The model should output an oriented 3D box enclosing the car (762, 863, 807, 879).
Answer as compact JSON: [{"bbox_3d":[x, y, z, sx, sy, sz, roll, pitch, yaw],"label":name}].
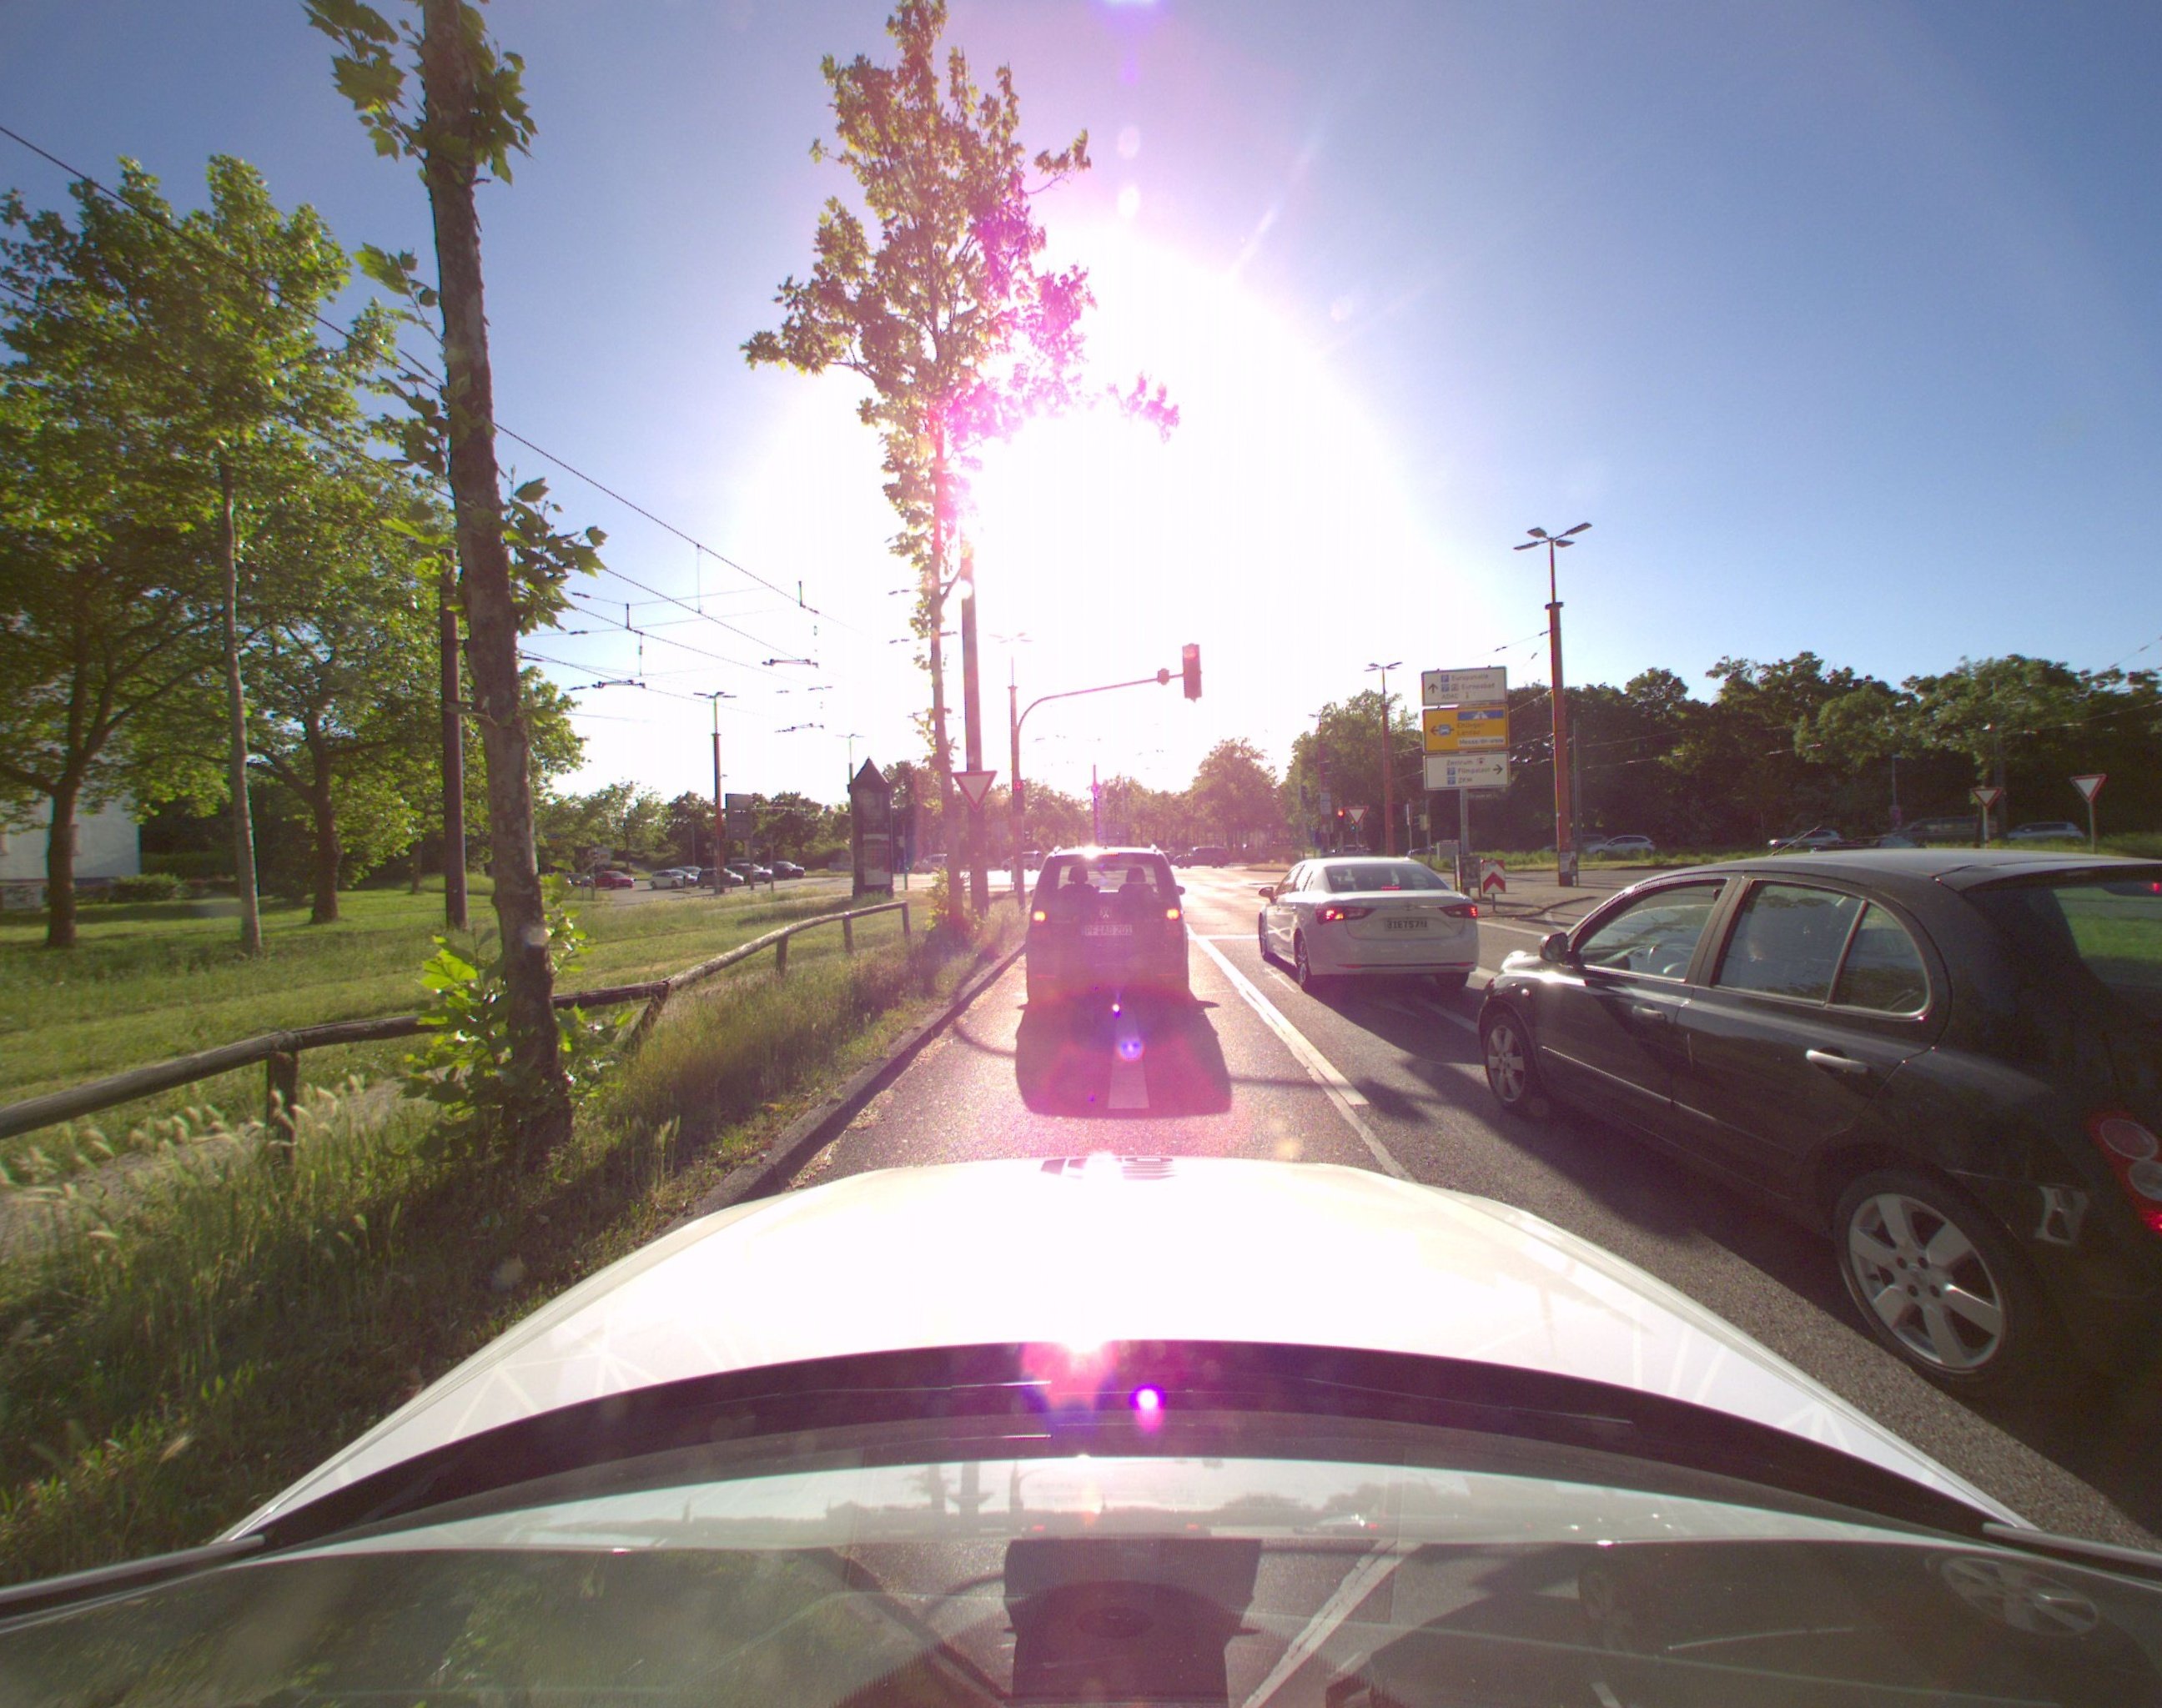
[{"bbox_3d":[-26.526,1.485,72.852,3.948,1.330,1.709,-2,0,33],"label":"car"}]

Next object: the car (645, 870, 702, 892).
[{"bbox_3d":[-32.371,2.135,64.707,4.135,1.612,1.880,-2,0,27],"label":"car"}]

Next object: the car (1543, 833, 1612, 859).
[{"bbox_3d":[35.051,-0.557,57.590,4.080,1.644,1.864,-2,0,29],"label":"car"}]

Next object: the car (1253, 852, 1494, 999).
[{"bbox_3d":[3.332,0.710,10.154,1.713,1.438,4.202,-1,0,3],"label":"car"}]

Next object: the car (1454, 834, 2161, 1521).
[{"bbox_3d":[3.223,0.698,3.568,1.647,1.500,3.617,-1,0,2],"label":"car"}]

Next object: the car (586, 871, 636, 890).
[{"bbox_3d":[-39.360,2.224,68.226,3.949,1.513,1.743,-2,0,27],"label":"car"}]

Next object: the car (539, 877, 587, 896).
[{"bbox_3d":[-41.110,2.605,64.663,2.816,1.390,1.813,-2,0,19],"label":"car"}]

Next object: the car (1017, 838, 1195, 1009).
[{"bbox_3d":[0.297,0.678,9.930,1.694,1.621,3.898,-2,0,1],"label":"car"}]

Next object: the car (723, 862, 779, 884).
[{"bbox_3d":[-26.513,1.544,65.346,3.950,1.644,2.012,-2,0,26],"label":"car"}]

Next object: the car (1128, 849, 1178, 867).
[{"bbox_3d":[6.389,0.354,72.435,4.082,1.511,1.834,0,-1,28],"label":"car"}]

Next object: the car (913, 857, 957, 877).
[{"bbox_3d":[-14.092,1.223,78.722,3.797,1.890,1.774,0,-1,25],"label":"car"}]

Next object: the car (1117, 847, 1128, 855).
[{"bbox_3d":[8.521,-0.679,166.542,1.904,1.635,4.010,0,0,9],"label":"car"}]

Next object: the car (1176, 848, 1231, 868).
[{"bbox_3d":[10.027,0.333,66.671,4.139,1.644,1.770,0,-1,28],"label":"car"}]

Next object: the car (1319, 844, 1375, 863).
[{"bbox_3d":[21.027,-0.029,64.330,3.926,1.441,1.697,0,-1,29],"label":"car"}]

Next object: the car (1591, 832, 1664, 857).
[{"bbox_3d":[35.339,-0.603,52.754,3.783,1.523,1.706,-2,0,29],"label":"car"}]

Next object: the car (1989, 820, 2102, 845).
[{"bbox_3d":[54.258,-1.183,45.901,3.792,1.264,1.613,0,-1,28],"label":"car"}]

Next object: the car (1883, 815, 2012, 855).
[{"bbox_3d":[48.315,-1.036,45.564,4.526,2.013,2.013,-2,0,32],"label":"car"}]

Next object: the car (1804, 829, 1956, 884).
[{"bbox_3d":[24.805,0.056,25.286,4.131,1.450,1.728,-3,1,-19],"label":"car"}]

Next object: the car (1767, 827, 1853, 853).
[{"bbox_3d":[45.292,-0.866,50.680,3.700,1.473,1.610,-2,0,28],"label":"car"}]

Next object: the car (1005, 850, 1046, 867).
[{"bbox_3d":[-5.365,0.460,78.555,3.608,1.655,1.690,0,-1,27],"label":"car"}]

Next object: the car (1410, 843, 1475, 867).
[{"bbox_3d":[25.775,0.068,58.083,4.080,1.598,1.840,-2,0,29],"label":"car"}]
